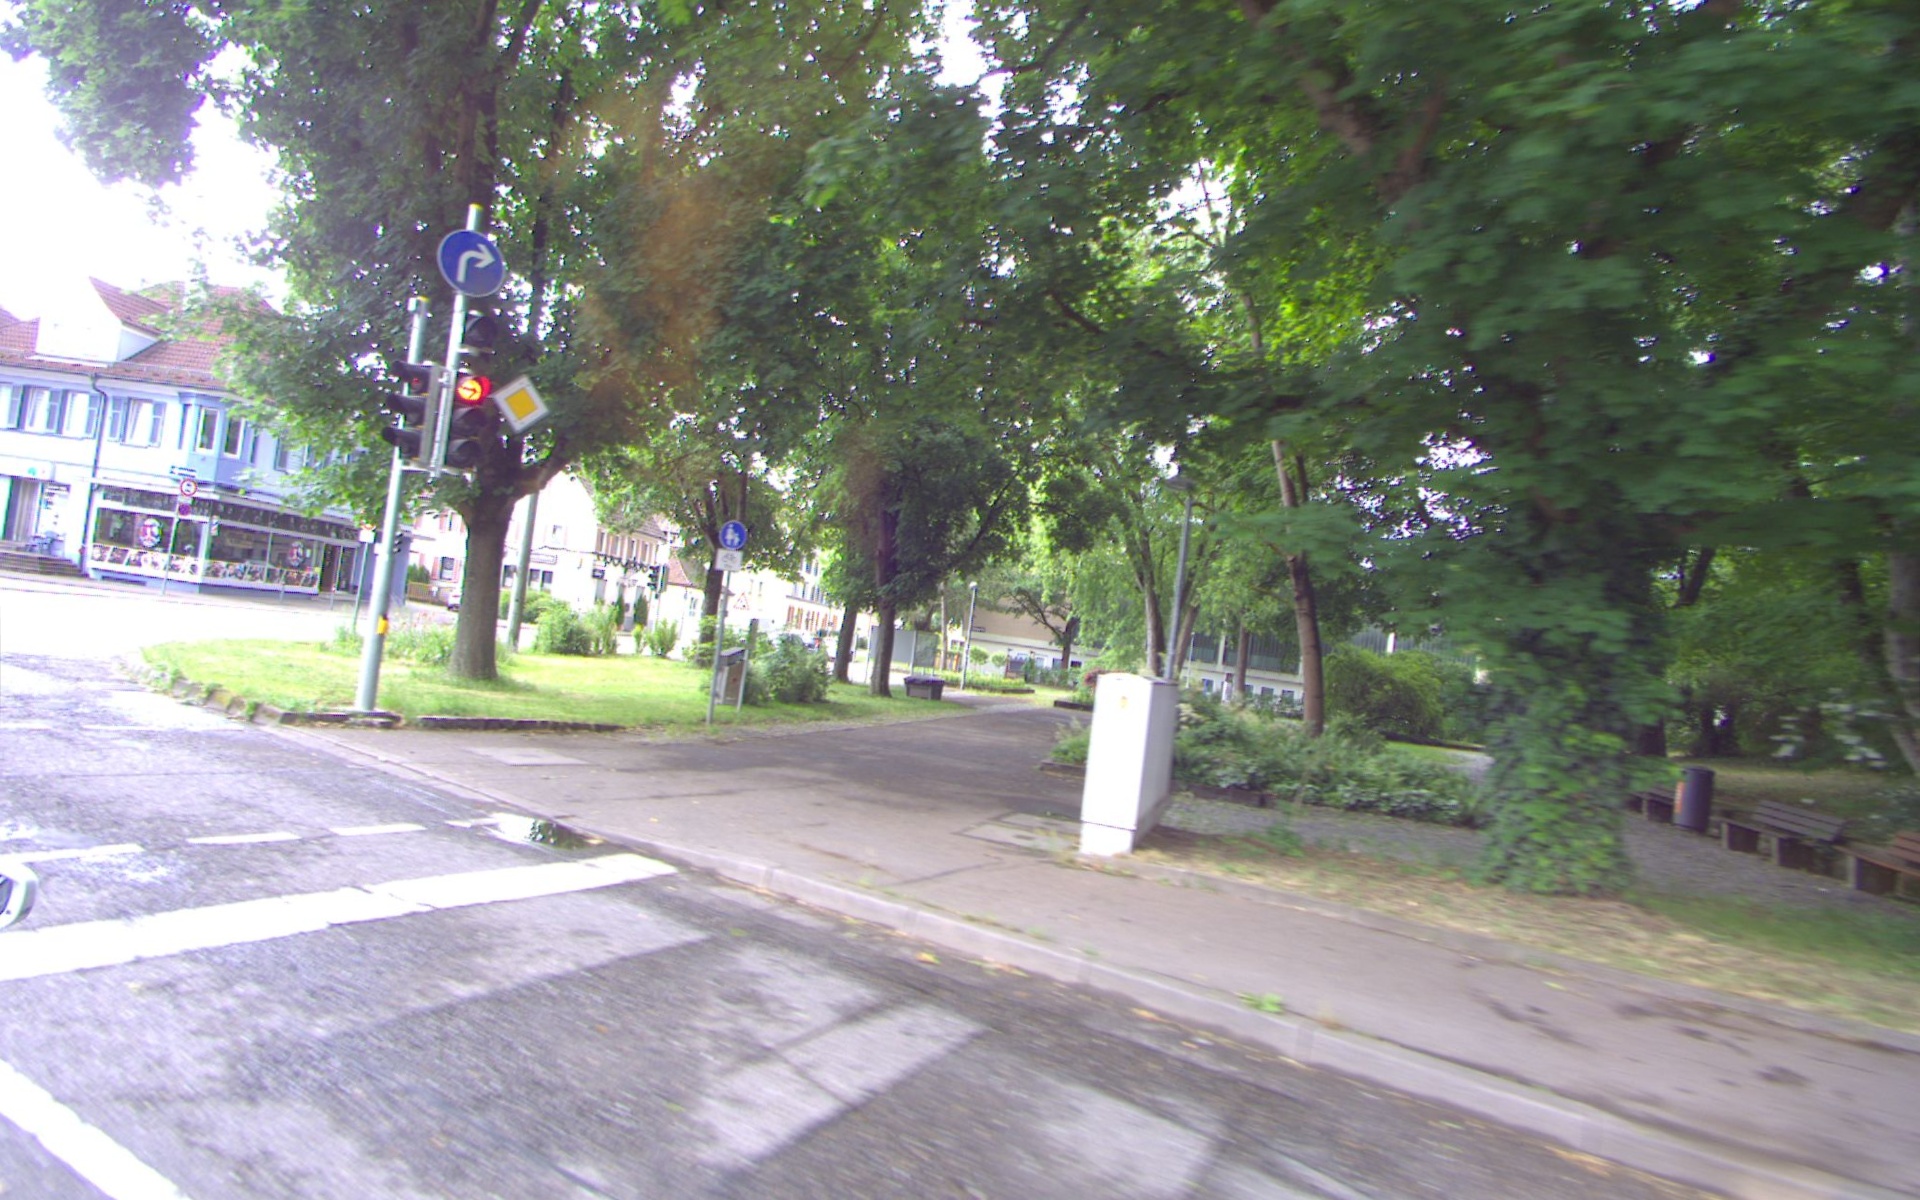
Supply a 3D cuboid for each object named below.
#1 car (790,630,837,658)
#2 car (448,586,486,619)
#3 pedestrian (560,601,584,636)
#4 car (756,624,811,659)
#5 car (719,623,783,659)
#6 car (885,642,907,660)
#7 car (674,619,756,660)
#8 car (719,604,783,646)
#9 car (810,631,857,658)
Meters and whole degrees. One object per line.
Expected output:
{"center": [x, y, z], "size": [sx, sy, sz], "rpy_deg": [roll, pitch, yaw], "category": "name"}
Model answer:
{"center": [-8.627, 2.613, 59.583], "size": [1.706, 1.406, 3.747], "rpy_deg": [7, -3, 7], "category": "car"}
{"center": [-25.783, 0.106, 52.577], "size": [1.553, 1.478, 3.419], "rpy_deg": [8, -3, -27], "category": "car"}
{"center": [-19.957, 0.950, 51.755], "size": [0.743, 1.716, 0.647], "rpy_deg": [7, -2, 4], "category": "pedestrian"}
{"center": [-9.447, 2.257, 54.192], "size": [1.838, 1.590, 4.005], "rpy_deg": [7, -2, 4], "category": "car"}
{"center": [-10.240, 2.047, 49.569], "size": [1.767, 1.472, 3.964], "rpy_deg": [7, -3, 7], "category": "car"}
{"center": [-8.182, 6.574, 129.251], "size": [1.962, 2.036, 4.006], "rpy_deg": [7, -2, 6], "category": "car"}
{"center": [-10.640, 1.767, 44.118], "size": [1.864, 1.472, 4.553], "rpy_deg": [7, -3, 7], "category": "car"}
{"center": [-14.229, 1.780, 68.987], "size": [2.292, 2.419, 5.968], "rpy_deg": [7, -3, 7], "category": "car"}
{"center": [-8.224, 2.953, 65.667], "size": [1.888, 1.472, 4.408], "rpy_deg": [7, -3, 7], "category": "car"}
